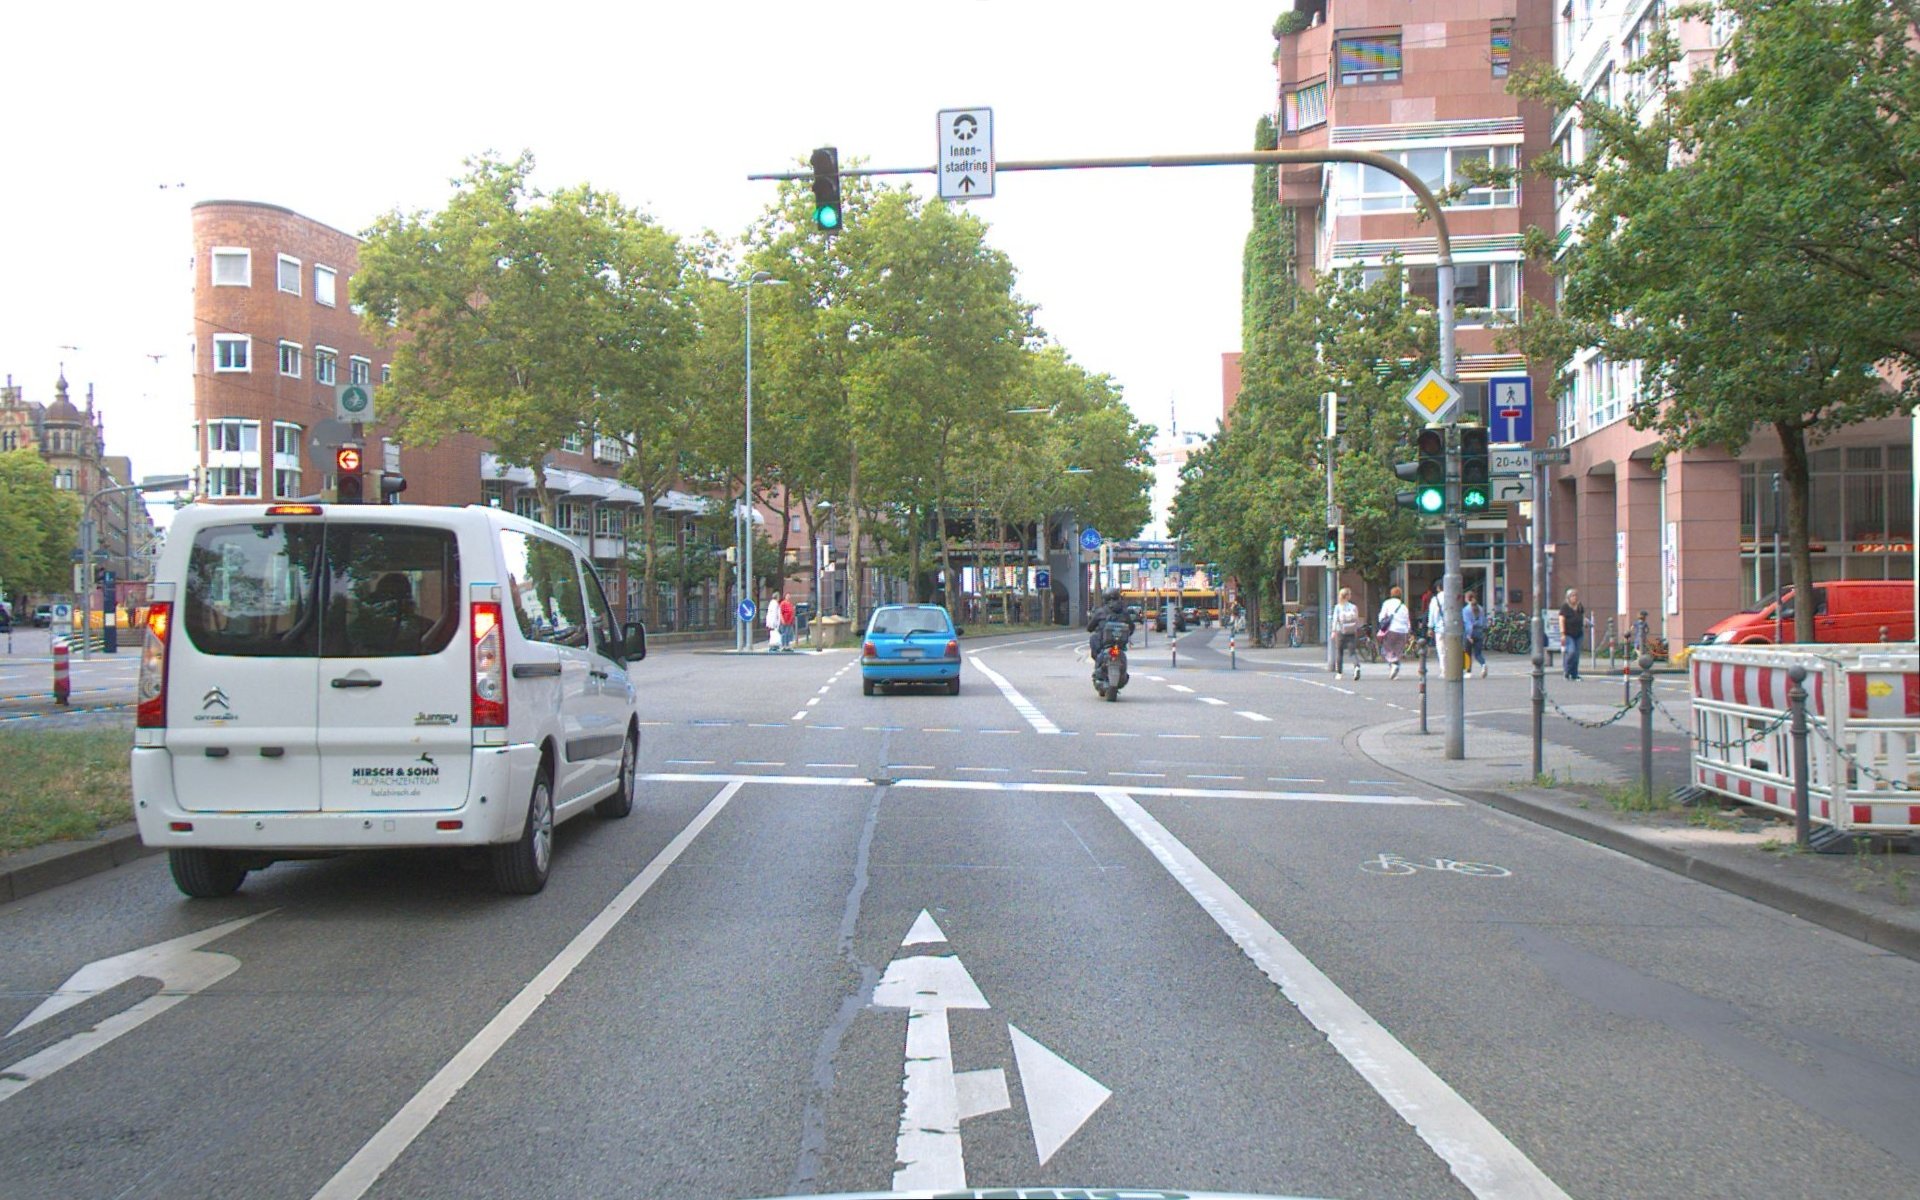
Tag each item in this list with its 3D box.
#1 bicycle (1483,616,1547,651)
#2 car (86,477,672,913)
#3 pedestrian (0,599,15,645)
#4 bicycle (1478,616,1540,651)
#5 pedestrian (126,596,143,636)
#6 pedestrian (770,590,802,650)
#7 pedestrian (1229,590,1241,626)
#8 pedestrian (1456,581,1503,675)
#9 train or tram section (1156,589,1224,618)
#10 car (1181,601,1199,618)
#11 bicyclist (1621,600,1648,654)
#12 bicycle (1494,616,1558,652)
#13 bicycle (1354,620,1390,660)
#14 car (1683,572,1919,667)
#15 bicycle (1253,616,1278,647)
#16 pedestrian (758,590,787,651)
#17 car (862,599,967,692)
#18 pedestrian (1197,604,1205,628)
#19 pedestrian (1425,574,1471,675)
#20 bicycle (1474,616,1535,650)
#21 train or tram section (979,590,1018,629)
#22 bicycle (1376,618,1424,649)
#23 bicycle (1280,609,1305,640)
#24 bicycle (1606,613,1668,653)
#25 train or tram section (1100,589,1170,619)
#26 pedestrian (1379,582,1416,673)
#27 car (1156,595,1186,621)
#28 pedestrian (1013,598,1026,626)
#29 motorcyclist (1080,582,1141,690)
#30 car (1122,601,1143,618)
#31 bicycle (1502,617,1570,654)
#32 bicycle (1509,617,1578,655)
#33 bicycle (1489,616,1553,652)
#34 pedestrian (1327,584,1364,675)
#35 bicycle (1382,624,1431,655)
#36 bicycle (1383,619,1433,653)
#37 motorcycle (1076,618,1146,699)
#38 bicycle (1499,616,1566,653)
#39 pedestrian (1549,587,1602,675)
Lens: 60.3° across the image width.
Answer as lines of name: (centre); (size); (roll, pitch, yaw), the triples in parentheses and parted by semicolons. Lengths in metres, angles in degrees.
bicycle: (16.247, 0.980, 48.432); (1.693, 1.026, 0.472); (0, -1, 5)
car: (-3.069, 0.412, 10.009); (1.893, 1.959, 4.954); (-1, 0, -2)
pedestrian: (-41.768, 0.945, 72.243); (0.780, 1.998, 0.799); (0, 0, -26)
bicycle: (16.247, 0.983, 48.949); (1.693, 1.026, 0.438); (0, -1, 5)
pedestrian: (-37.947, 0.742, 76.002); (0.684, 1.849, 0.650); (0, -1, -28)
pedestrian: (-5.108, 0.589, 48.631); (0.542, 1.748, 0.890); (-1, -1, 25)
pedestrian: (14.322, 0.425, 86.150); (0.633, 1.891, 0.783); (-1, 0, 8)
pedestrian: (9.774, 0.520, 31.142); (0.638, 1.730, 1.023); (-1, 0, 6)
train or tram section: (27.386, 0.420, 196.477); (8.238, 3.311, 2.374); (-1, -1, -29)
car: (22.634, 0.935, 162.708); (1.662, 1.629, 4.003); (-1, 0, 10)
bicyclist: (16.017, 0.640, 39.263); (0.488, 1.266, 0.479); (-1, 0, 36)
bicycle: (16.221, 0.978, 47.413); (1.693, 1.026, 0.425); (0, -1, 5)
bicycle: (10.977, 1.043, 44.060); (0.604, 1.026, 1.736); (0, 0, 3)
car: (17.600, 0.425, 33.941); (4.723, 1.858, 2.001); (-1, -2, 11)
bicycle: (10.286, 1.058, 55.728); (0.604, 1.026, 1.736); (0, 0, 4)
pedestrian: (-5.404, 0.578, 47.717); (0.541, 1.748, 0.891); (-1, -1, 16)
car: (-0.724, 0.693, 27.181); (1.607, 1.410, 3.842); (0, 0, -1)
pedestrian: (18.408, 1.228, 126.333); (0.499, 1.790, 0.539); (-1, -1, 10)
pedestrian: (9.149, 0.449, 31.019); (0.662, 1.860, 0.851); (-1, 0, 5)
bicycle: (16.274, 0.987, 49.451); (1.693, 1.026, 0.431); (0, -1, 5)
train or tram section: (3.512, 0.852, 149.040); (2.338, 3.311, 8.825); (-1, -1, 9)
bicycle: (12.221, 0.929, 45.938); (1.272, 0.828, 0.444); (-1, -1, 21)
bicycle: (11.236, 0.819, 55.893); (0.604, 1.026, 1.736); (0, 0, 4)
bicycle: (16.060, 0.773, 39.245); (1.293, 0.931, 0.473); (-1, 0, 36)
train or tram section: (20.353, 0.447, 192.053); (8.716, 3.311, 2.367); (0, -1, -35)
pedestrian: (8.009, 0.498, 30.268); (0.506, 1.644, 0.851); (-1, 0, 5)
car: (13.602, 0.475, 106.553); (1.662, 1.629, 4.003); (-1, 0, 10)
pedestrian: (4.009, 0.807, 111.885); (0.712, 1.891, 0.871); (-1, 0, 10)
motorcyclist: (2.215, 0.525, 24.476); (0.744, 1.546, 1.017); (-1, -1, -3)
car: (17.495, 0.971, 167.609); (1.846, 1.652, 4.003); (-1, 0, 10)
bicycle: (16.026, 0.986, 46.019); (1.693, 1.026, 0.547); (0, -1, 5)
bicycle: (16.020, 0.987, 45.409); (1.693, 1.026, 0.547); (0, -1, 5)
bicycle: (16.234, 0.980, 47.903); (1.693, 1.026, 0.479); (0, -1, 5)
pedestrian: (7.085, 0.529, 30.409); (0.506, 1.644, 0.851); (0, 0, 3)
bicycle: (12.241, 1.078, 45.323); (1.271, 0.852, 0.454); (-1, -1, 16)
bicycle: (12.554, 1.012, 46.387); (1.272, 0.883, 0.454); (-3, -2, 21)
motorcycle: (2.218, 0.844, 24.577); (0.752, 1.126, 2.207); (-1, -1, -2)
bicycle: (16.115, 0.982, 46.607); (1.693, 1.026, 0.547); (0, -1, 5)
pedestrian: (11.065, 0.552, 29.738); (0.661, 1.565, 0.948); (-1, 0, 6)
